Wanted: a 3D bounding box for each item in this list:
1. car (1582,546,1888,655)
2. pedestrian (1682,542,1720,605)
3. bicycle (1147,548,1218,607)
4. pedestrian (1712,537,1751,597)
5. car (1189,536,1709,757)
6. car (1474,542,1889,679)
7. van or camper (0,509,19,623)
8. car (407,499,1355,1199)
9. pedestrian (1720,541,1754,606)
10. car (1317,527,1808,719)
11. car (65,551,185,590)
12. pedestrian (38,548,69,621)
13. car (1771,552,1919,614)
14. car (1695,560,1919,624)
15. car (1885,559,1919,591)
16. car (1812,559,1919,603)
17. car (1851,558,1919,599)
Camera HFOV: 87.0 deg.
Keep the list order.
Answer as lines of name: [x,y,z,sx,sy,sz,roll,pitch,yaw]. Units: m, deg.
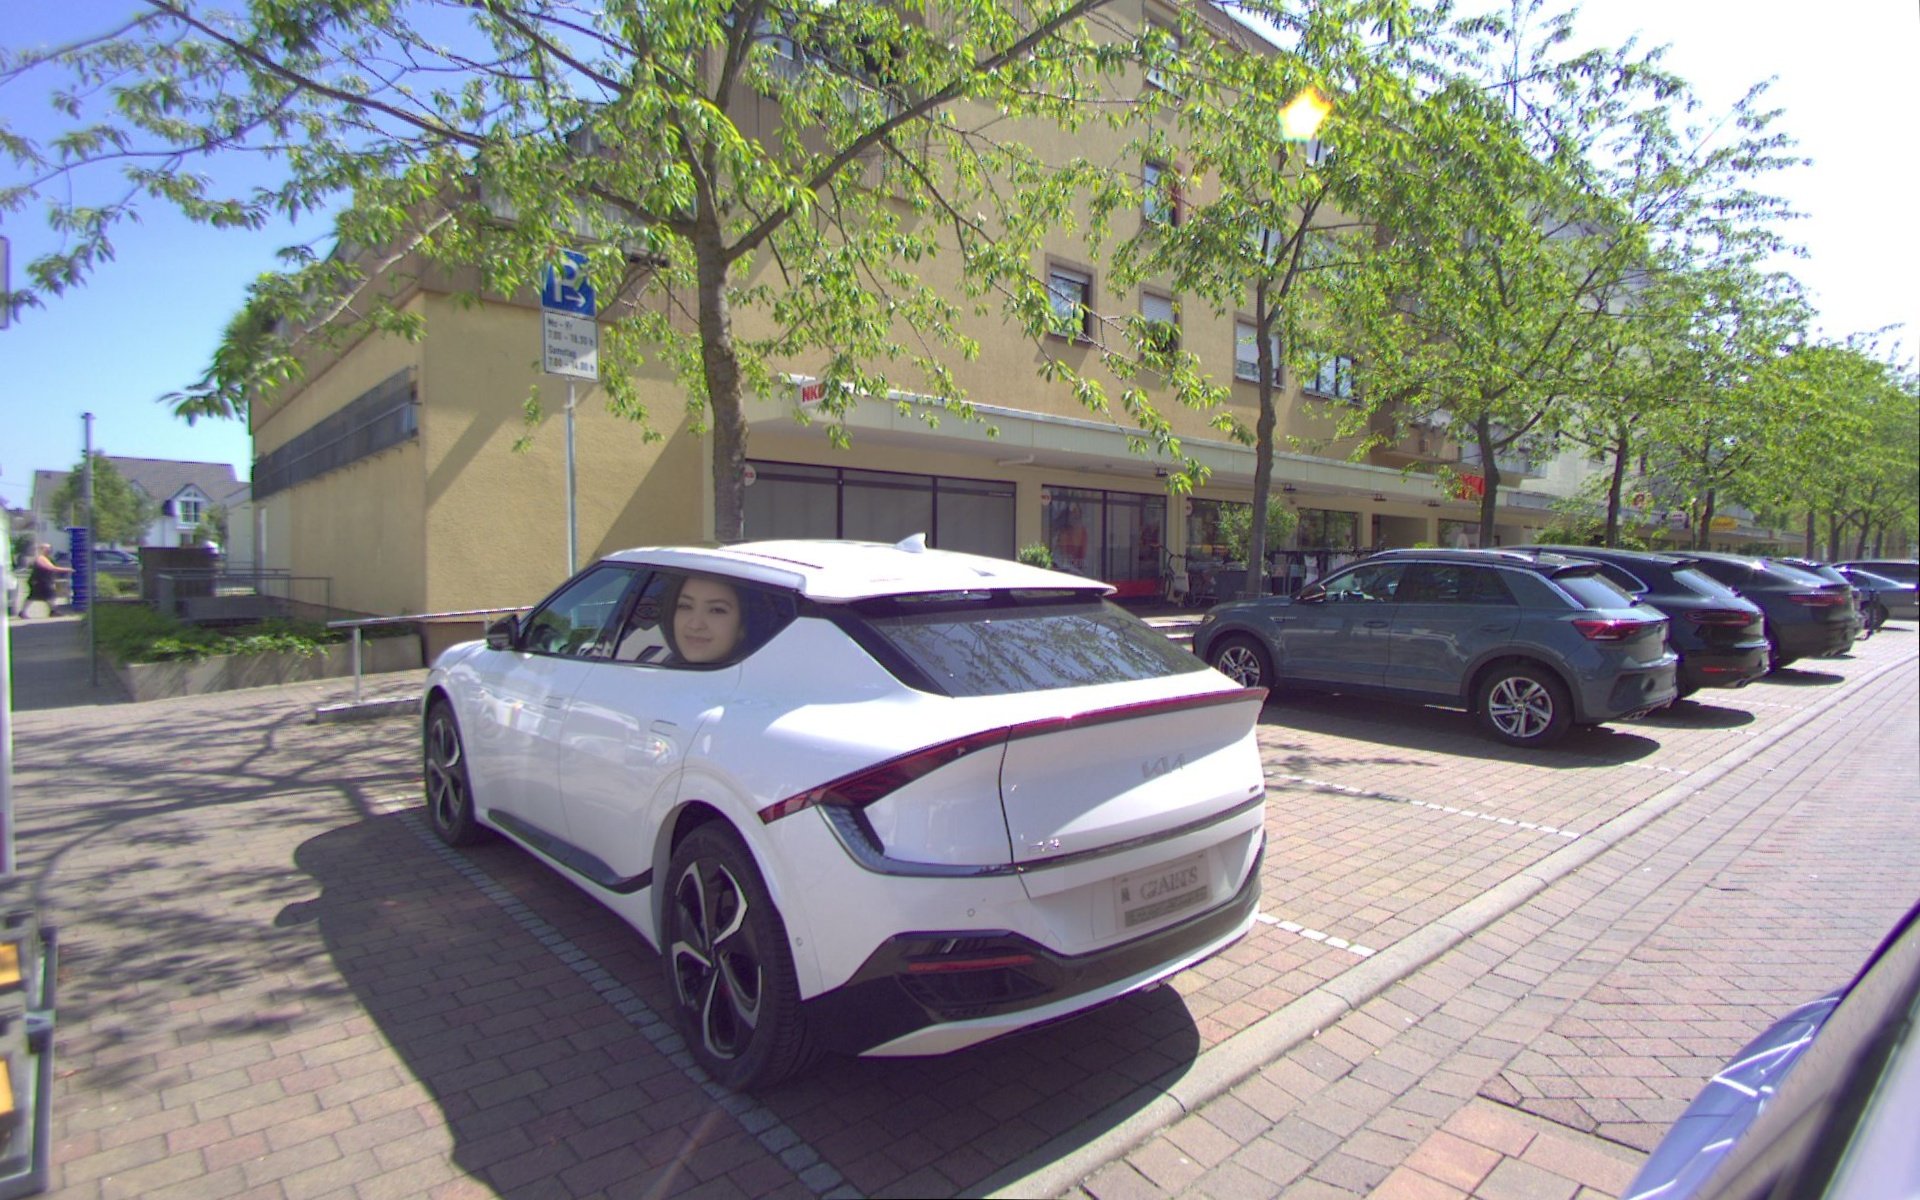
car: [13.600,-0.093,17.948,1.653,1.631,4.033,-2,5,-42]
pedestrian: [21.182,-0.756,28.926,0.621,1.795,0.685,0,1,11]
bicycle: [4.494,-0.466,20.338,1.743,1.137,0.413,-3,2,-40]
pedestrian: [22.589,-0.966,29.630,0.635,1.752,0.617,-1,1,-7]
car: [4.333,0.226,9.438,1.793,1.552,3.951,-2,5,-42]
car: [10.143,0.010,14.569,1.817,1.607,4.520,-1,4,-39]
van or camper: [-23.272,-0.784,23.402,2.034,2.509,4.665,-2,3,-42]
car: [-0.864,0.443,4.356,1.758,1.595,4.449,-1,4,-41]
pedestrian: [21.998,-0.743,28.664,0.598,1.818,0.624,0,1,20]
car: [6.462,0.083,11.221,1.968,1.701,4.284,-2,4,-43]
car: [-35.867,-1.282,43.516,3.871,1.596,1.654,-2,3,-43]
pedestrian: [-21.945,-0.385,24.510,0.492,1.752,0.760,-1,2,-38]
car: [26.105,-0.509,29.000,1.727,1.637,4.250,-1,4,-43]
car: [21.273,-0.253,25.358,4.347,1.481,1.873,2,3,29]
car: [43.555,-1.072,44.983,1.435,1.407,3.400,-1,4,-41]
car: [34.167,-0.701,36.834,1.775,1.562,4.583,-2,3,-41]
car: [36.301,-0.797,38.193,1.586,1.448,3.799,-2,4,-41]
